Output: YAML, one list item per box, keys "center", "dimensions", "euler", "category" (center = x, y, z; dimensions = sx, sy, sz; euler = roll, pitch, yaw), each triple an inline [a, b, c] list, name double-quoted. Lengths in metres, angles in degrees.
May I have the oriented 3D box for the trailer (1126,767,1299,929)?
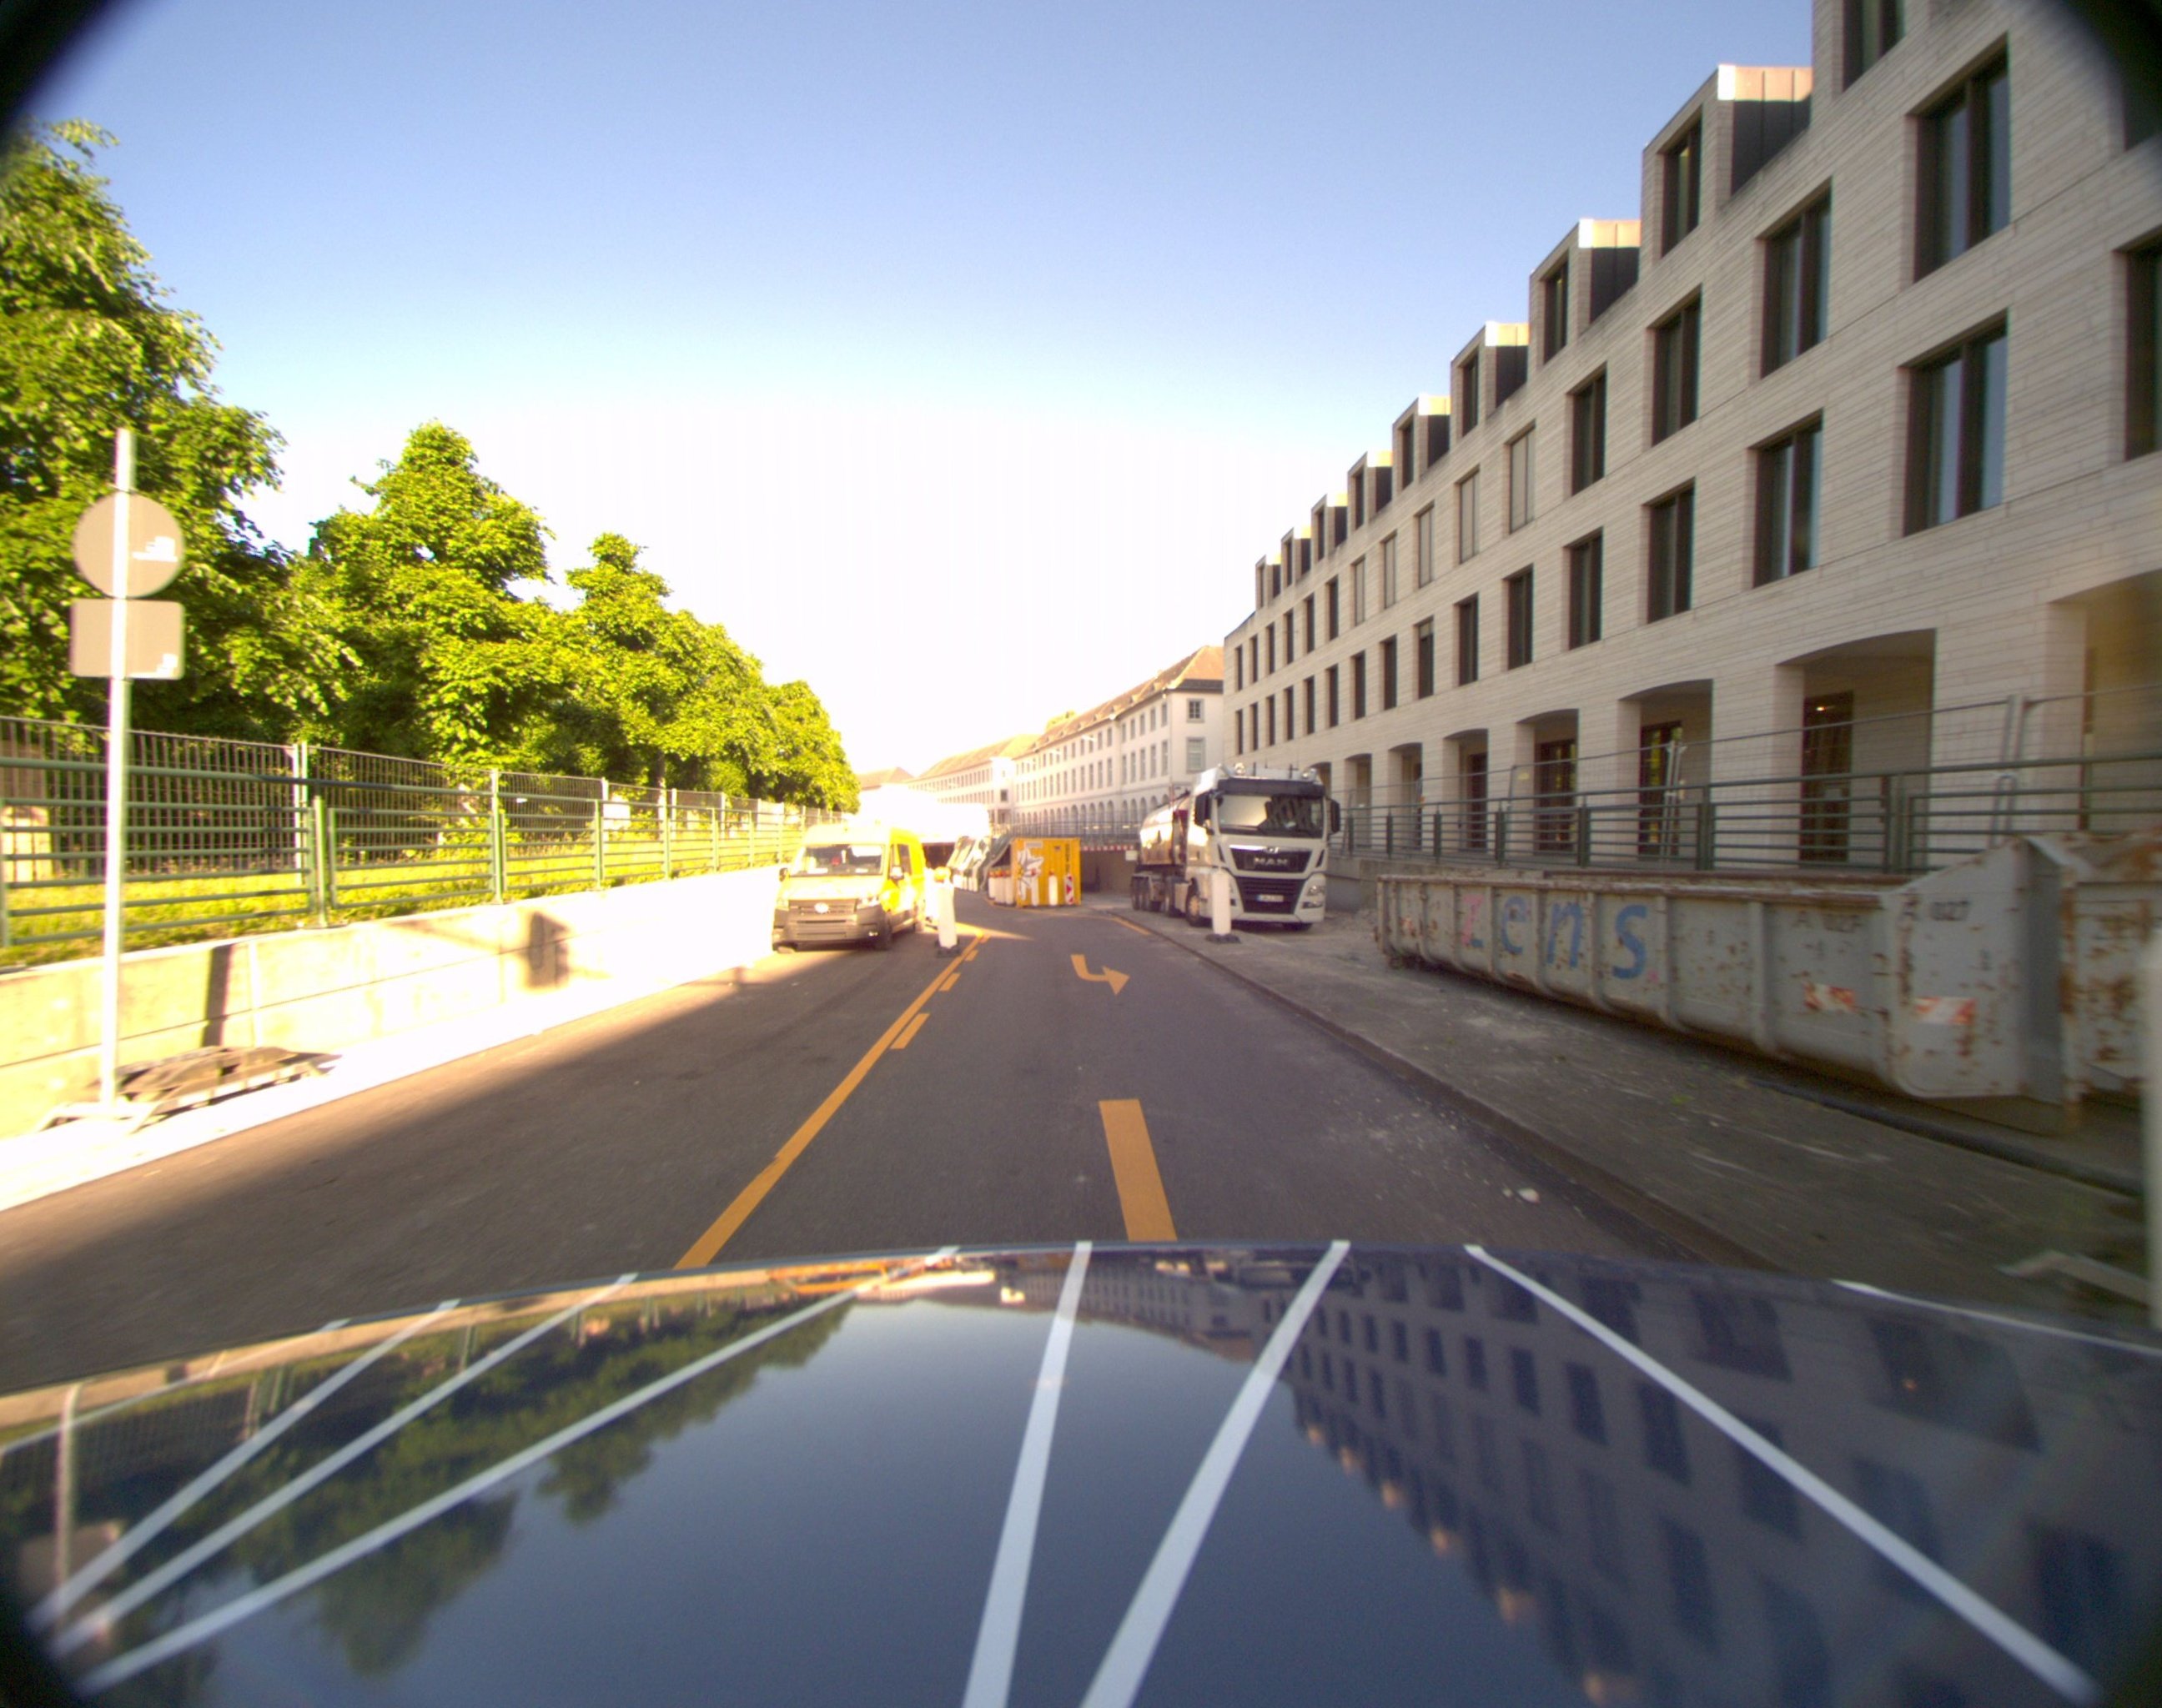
- center: [3.340, -0.082, 22.063]
  dimensions: [2.650, 3.647, 8.745]
  euler: [3, -1, -5]
  category: "trailer"

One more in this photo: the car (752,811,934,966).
- center: [-4.746, 0.615, 16.499]
  dimensions: [2.118, 2.609, 6.985]
  euler: [-1, 0, -4]
  category: "car"

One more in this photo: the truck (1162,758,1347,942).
- center: [3.695, -0.037, 17.669]
  dimensions: [2.587, 3.468, 5.815]
  euler: [3, -1, -3]
  category: "truck"
